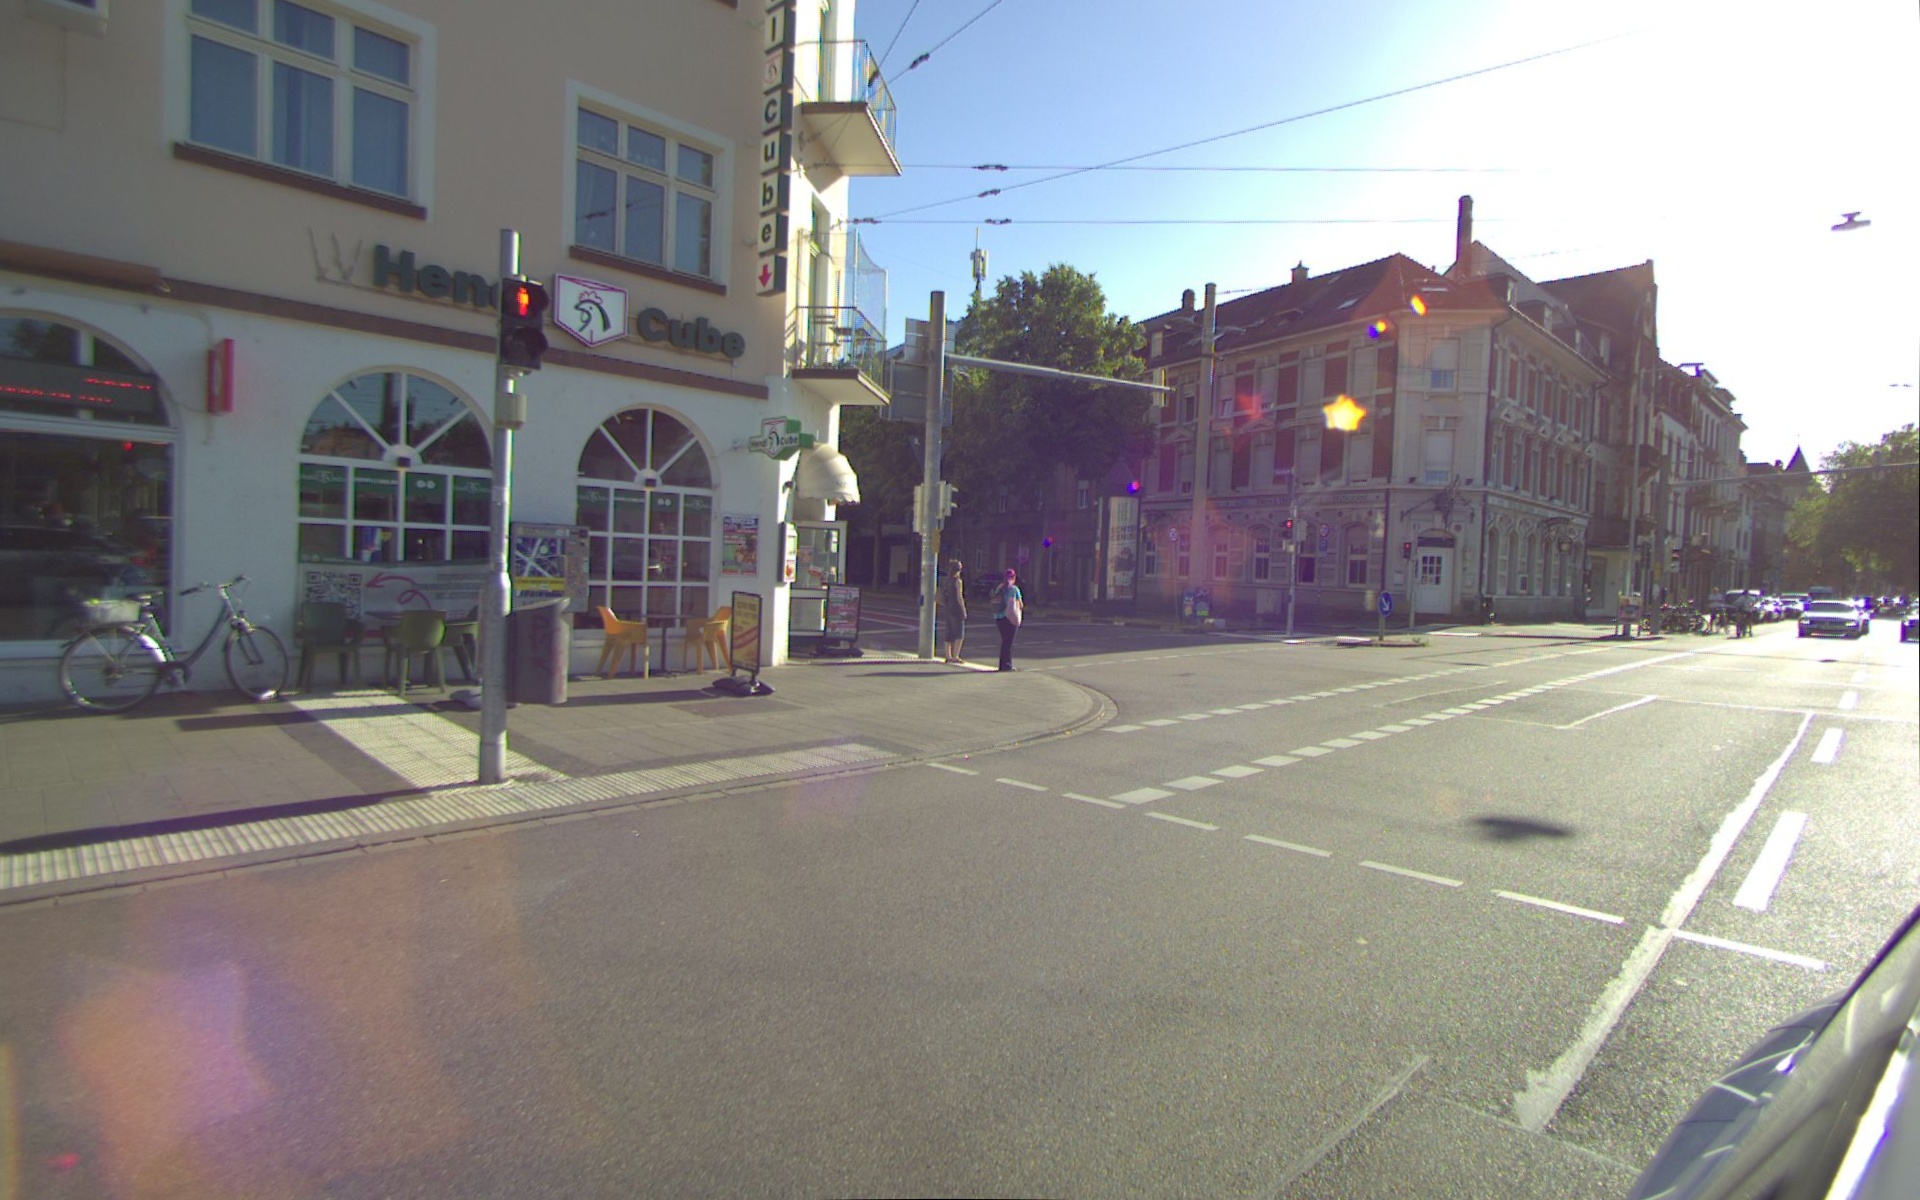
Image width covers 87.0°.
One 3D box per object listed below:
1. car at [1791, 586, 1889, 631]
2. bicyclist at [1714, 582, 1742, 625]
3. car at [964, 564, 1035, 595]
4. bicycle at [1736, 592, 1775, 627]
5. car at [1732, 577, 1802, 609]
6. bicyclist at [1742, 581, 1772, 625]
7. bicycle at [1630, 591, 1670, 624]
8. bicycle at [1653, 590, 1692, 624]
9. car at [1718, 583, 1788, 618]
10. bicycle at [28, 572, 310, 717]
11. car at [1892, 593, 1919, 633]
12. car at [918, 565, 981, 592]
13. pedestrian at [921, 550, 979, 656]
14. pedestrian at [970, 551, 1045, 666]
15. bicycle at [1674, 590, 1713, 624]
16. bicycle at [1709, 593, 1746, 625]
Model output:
[{"bbox_3d":[34.839,0.300,40.028,4.513,1.594,2.294,0,3,-41],"label":"car"},{"bbox_3d":[30.272,0.133,39.908,0.732,1.625,0.696,0,2,-41],"label":"bicyclist"},{"bbox_3d":[2.099,-1.139,55.101,1.959,1.510,4.280,1,2,-28],"label":"car"},{"bbox_3d":[29.804,0.347,37.890,2.258,1.230,0.693,0,2,-41],"label":"bicycle"},{"bbox_3d":[47.341,-0.424,59.356,4.512,1.748,2.295,0,3,-40],"label":"car"},{"bbox_3d":[29.897,0.106,37.967,0.732,1.625,0.696,0,2,-41],"label":"bicyclist"},{"bbox_3d":[27.205,0.267,39.897,2.258,1.230,0.693,0,2,-41],"label":"bicycle"},{"bbox_3d":[27.705,0.258,39.348,2.258,1.230,0.693,0,2,-41],"label":"bicycle"},{"bbox_3d":[43.074,-0.008,54.955,4.517,1.748,2.293,0,3,-43],"label":"car"},{"bbox_3d":[-6.895,0.327,8.928,0.691,1.122,1.846,3,2,30],"label":"bicycle"},{"bbox_3d":[36.742,0.509,37.802,4.513,1.416,2.294,0,3,-41],"label":"car"},{"bbox_3d":[-0.648,-1.305,60.432,1.959,1.510,4.279,0,2,-29],"label":"car"},{"bbox_3d":[-0.167,0.037,16.913,0.662,1.711,0.666,3,2,44],"label":"pedestrian"},{"bbox_3d":[0.739,0.121,15.648,0.774,1.711,0.787,2,0,44],"label":"pedestrian"},{"bbox_3d":[28.121,0.261,38.777,2.258,1.230,0.693,0,2,-41],"label":"bicycle"},{"bbox_3d":[30.318,0.342,39.959,2.258,1.230,0.693,0,2,-41],"label":"bicycle"}]
